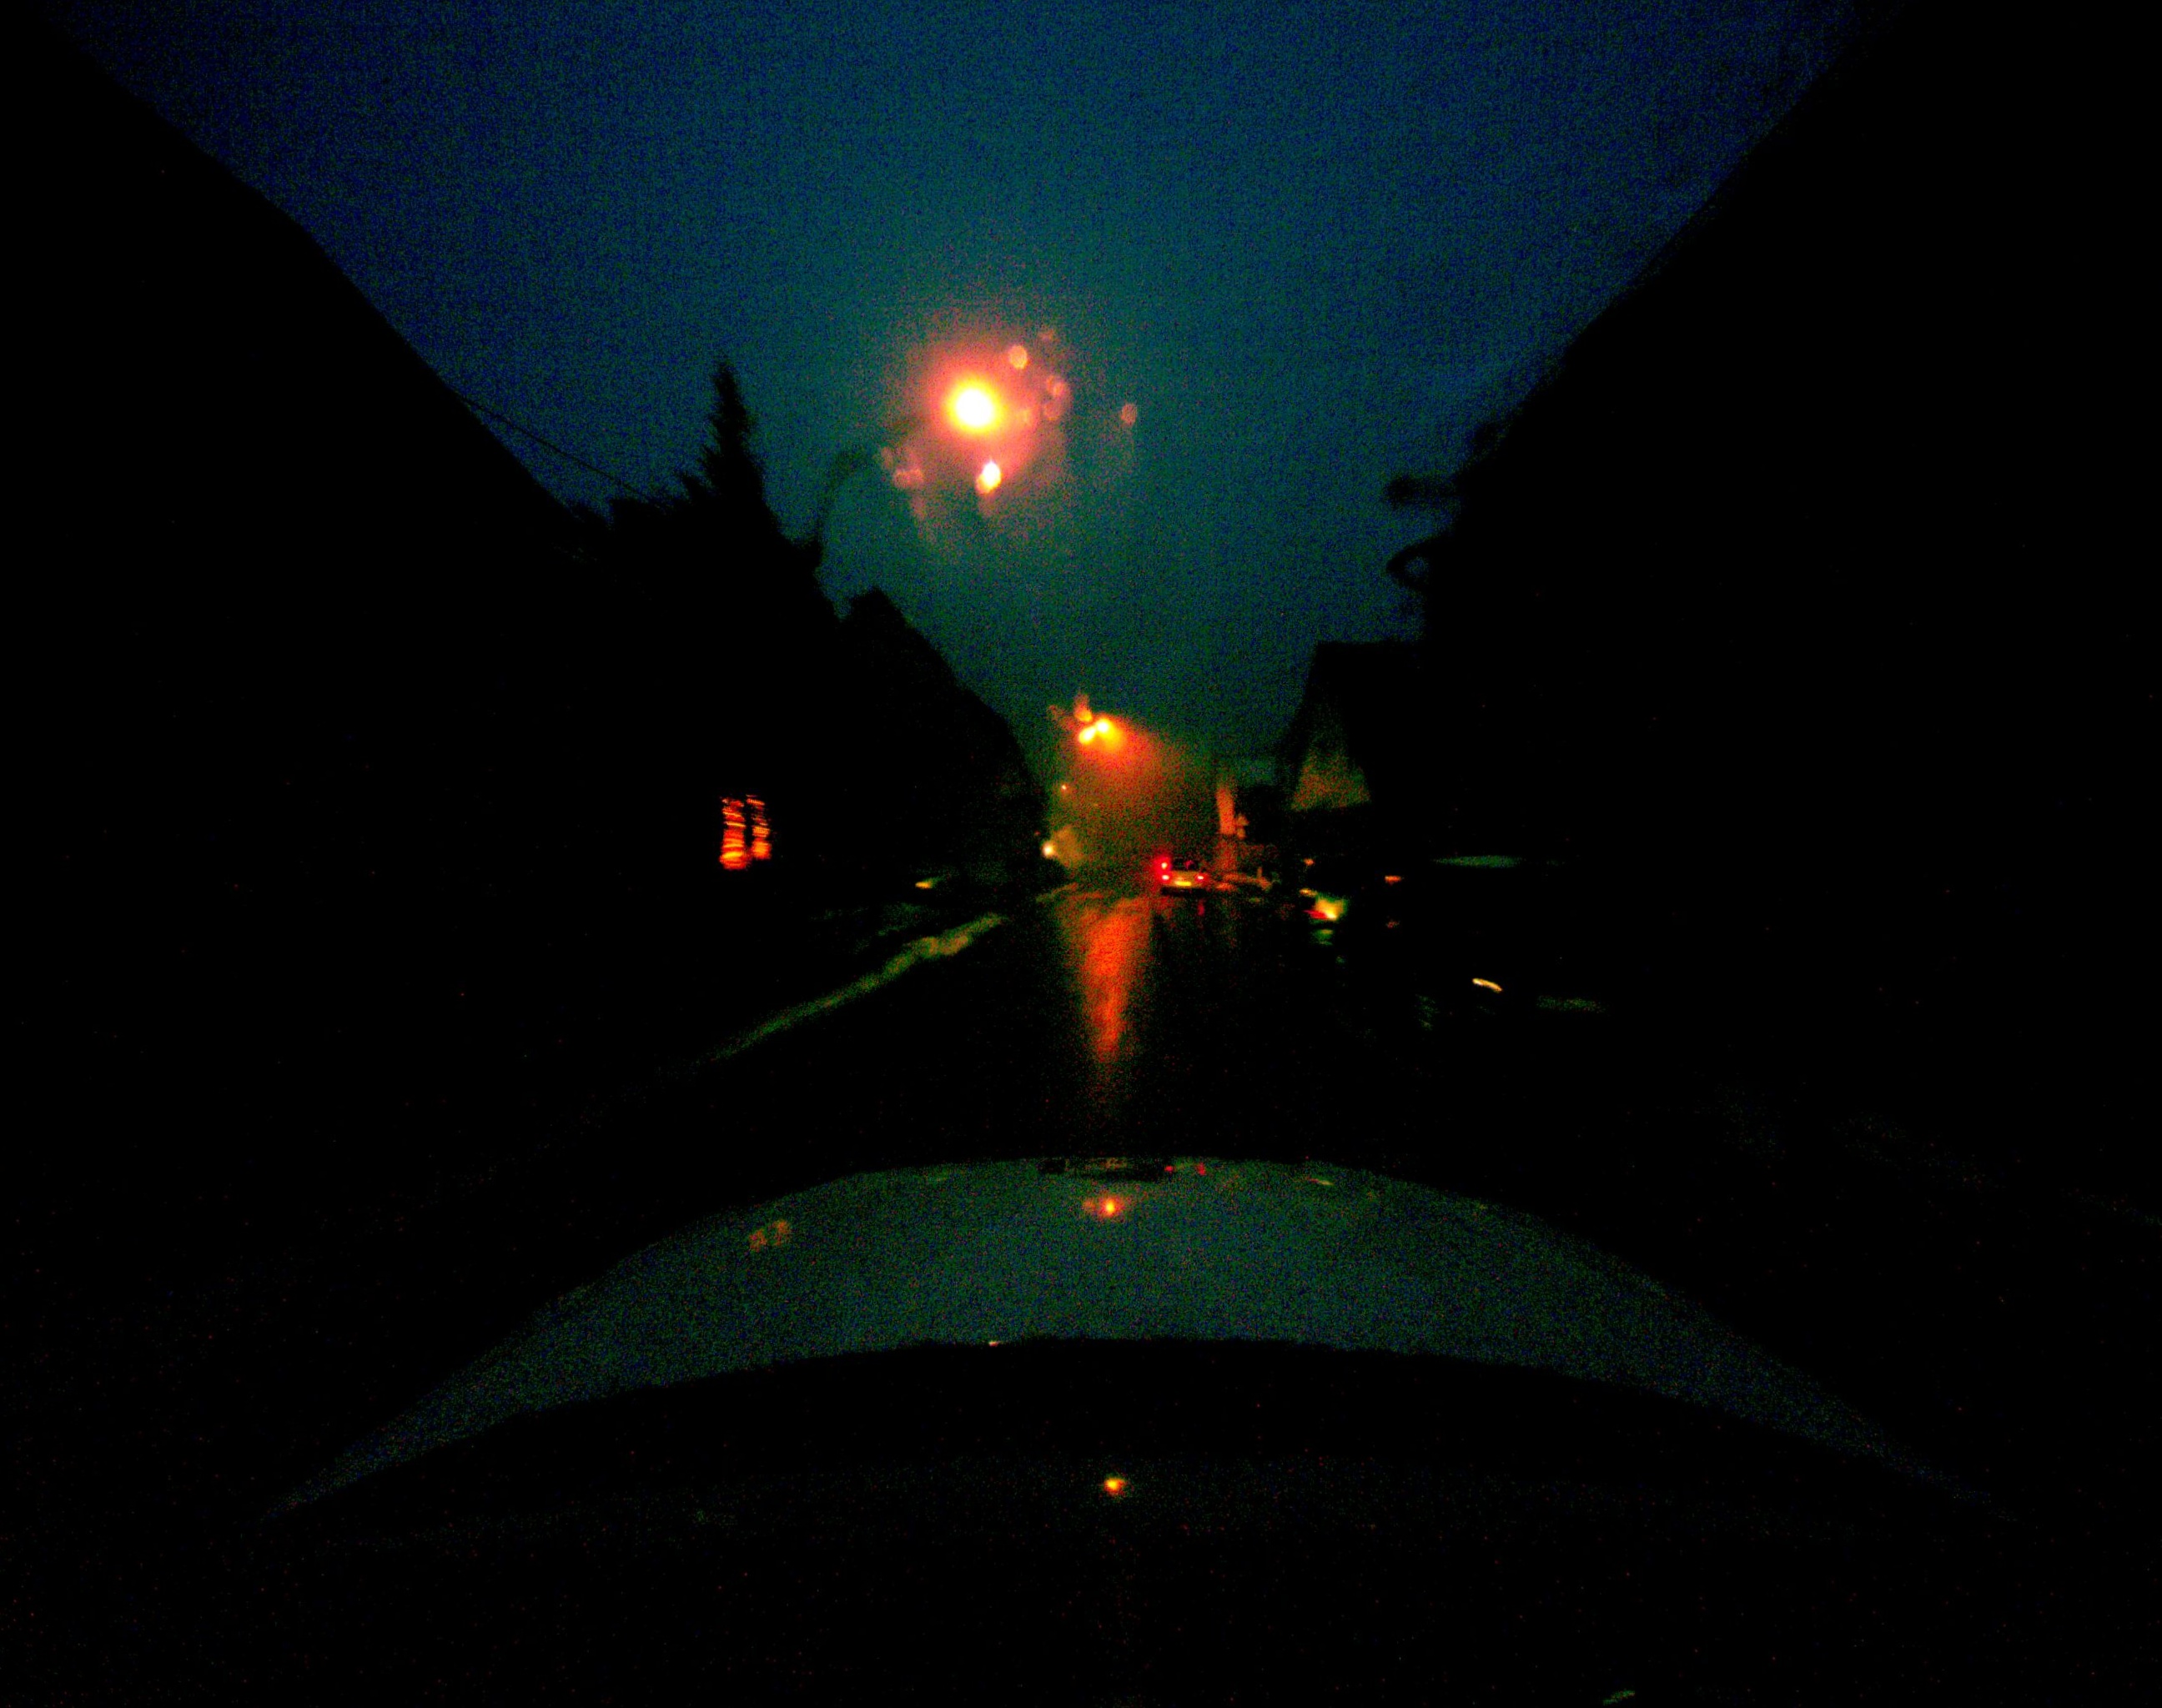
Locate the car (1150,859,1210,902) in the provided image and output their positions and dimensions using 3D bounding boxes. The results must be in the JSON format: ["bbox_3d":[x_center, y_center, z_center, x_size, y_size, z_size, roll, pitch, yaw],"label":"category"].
[{"bbox_3d":[3.827,1.048,32.039,1.985,1.508,4.002,2,-2,3],"label":"car"}]

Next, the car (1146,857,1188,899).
[{"bbox_3d":[4.426,1.247,42.041,1.984,2.014,4.005,2,-2,6],"label":"car"}]

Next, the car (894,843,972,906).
[{"bbox_3d":[-4.732,0.629,26.613,1.760,1.736,4.634,4,-1,-3],"label":"car"}]

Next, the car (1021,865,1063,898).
[{"bbox_3d":[-2.031,1.450,43.756,1.987,1.522,4.190,2,1,0],"label":"car"}]

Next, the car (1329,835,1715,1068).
[{"bbox_3d":[3.478,0.680,7.313,1.707,1.500,3.913,0,-2,6],"label":"car"}]

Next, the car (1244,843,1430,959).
[{"bbox_3d":[3.724,0.649,12.654,1.901,1.481,4.288,0,-1,5],"label":"car"}]
